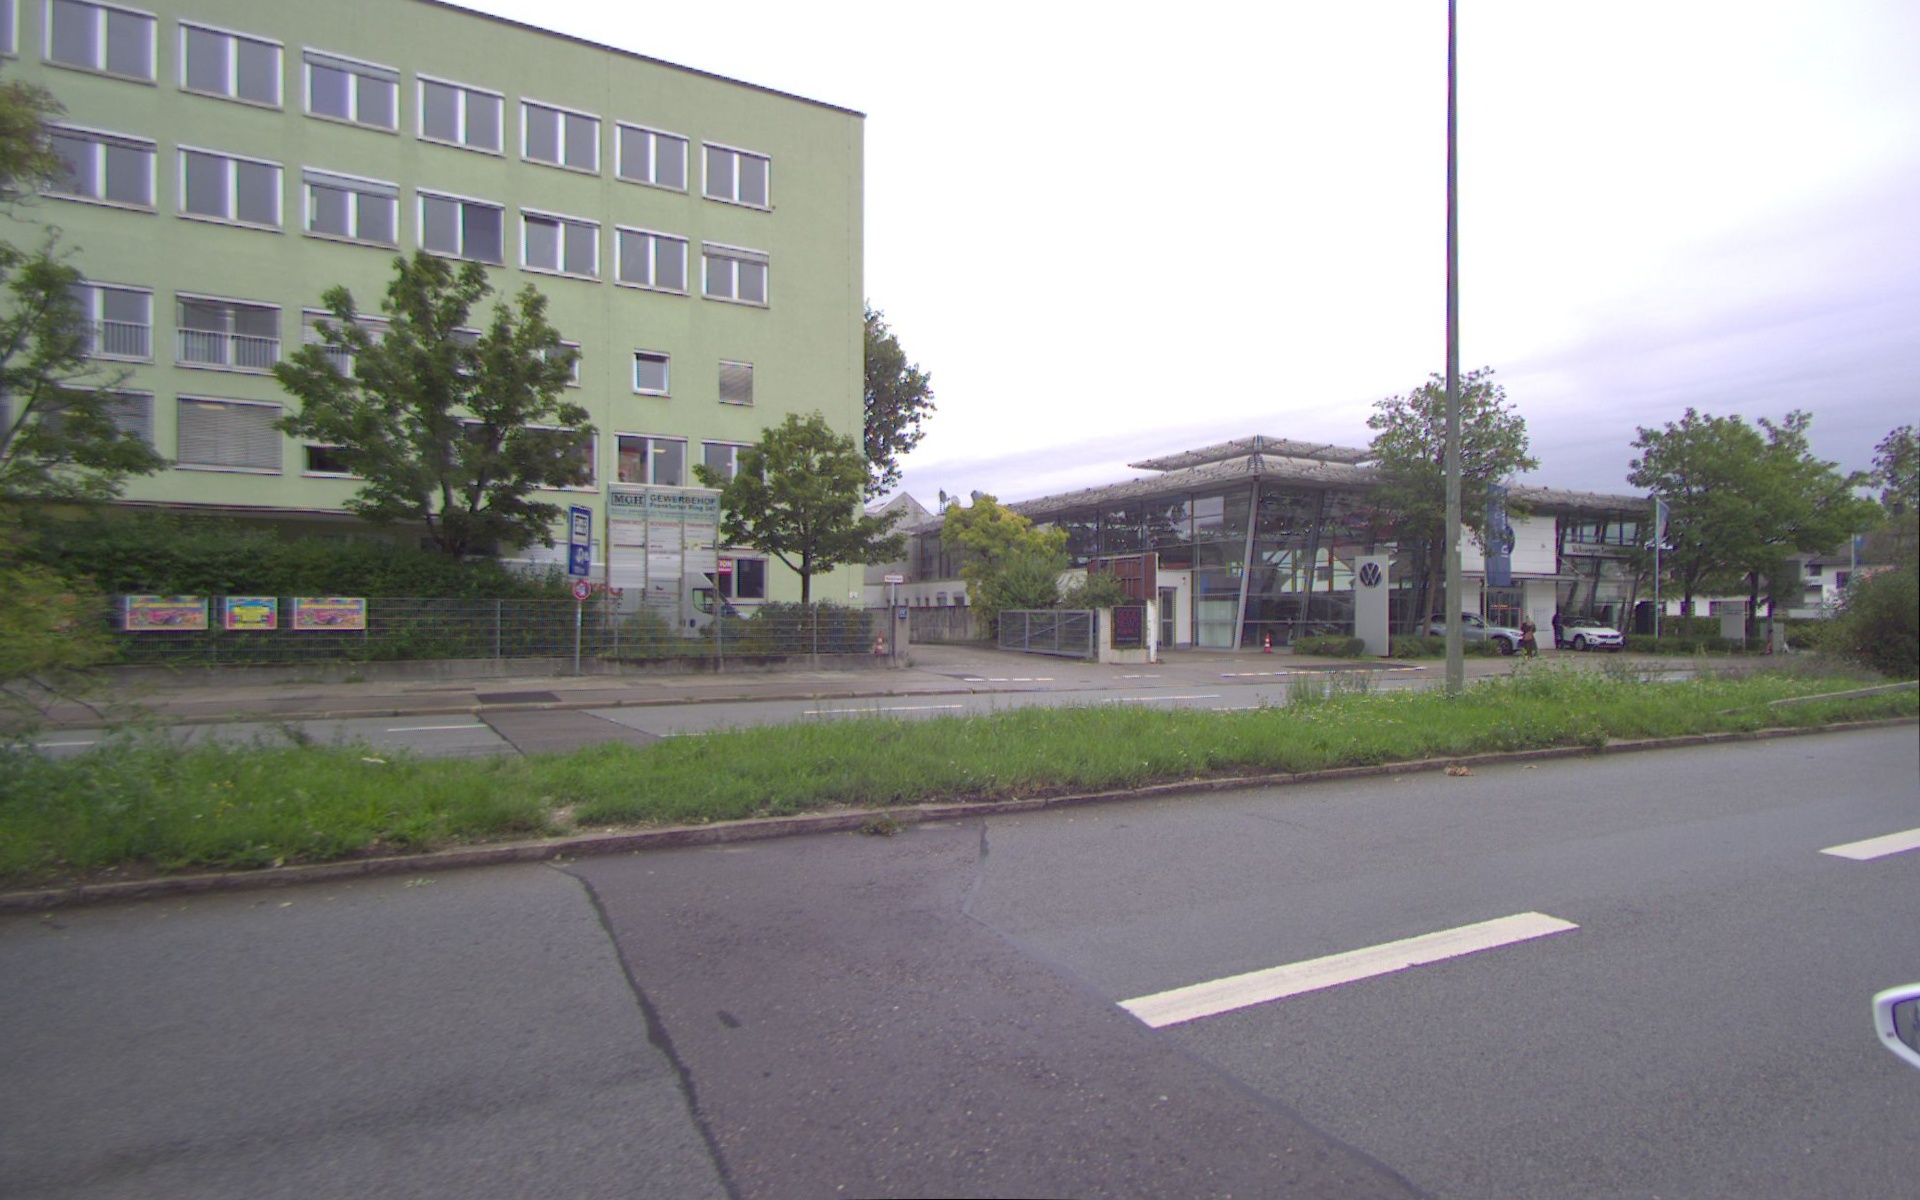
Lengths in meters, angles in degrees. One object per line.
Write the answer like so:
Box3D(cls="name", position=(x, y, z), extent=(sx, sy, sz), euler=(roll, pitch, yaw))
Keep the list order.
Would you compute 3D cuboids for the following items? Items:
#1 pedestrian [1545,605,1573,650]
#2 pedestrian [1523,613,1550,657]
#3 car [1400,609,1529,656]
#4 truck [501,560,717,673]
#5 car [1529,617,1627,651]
Box3D(cls="pedestrian", position=(27.385, 1.245, 45.896), extent=(0.869, 2.040, 0.711), euler=(0, -2, -28))
Box3D(cls="pedestrian", position=(21.959, 1.330, 38.238), extent=(0.614, 1.631, 0.634), euler=(0, -2, -28))
Box3D(cls="car", position=(21.258, 1.396, 42.434), extent=(4.577, 1.866, 1.793), euler=(-3, -3, 40))
Box3D(cls="truck", position=(-9.227, 0.453, 26.611), extent=(5.227, 2.784, 1.990), euler=(0, -2, -23))
Box3D(cls="car", position=(28.803, 1.600, 46.972), extent=(1.767, 1.529, 3.997), euler=(0, -2, -6))
